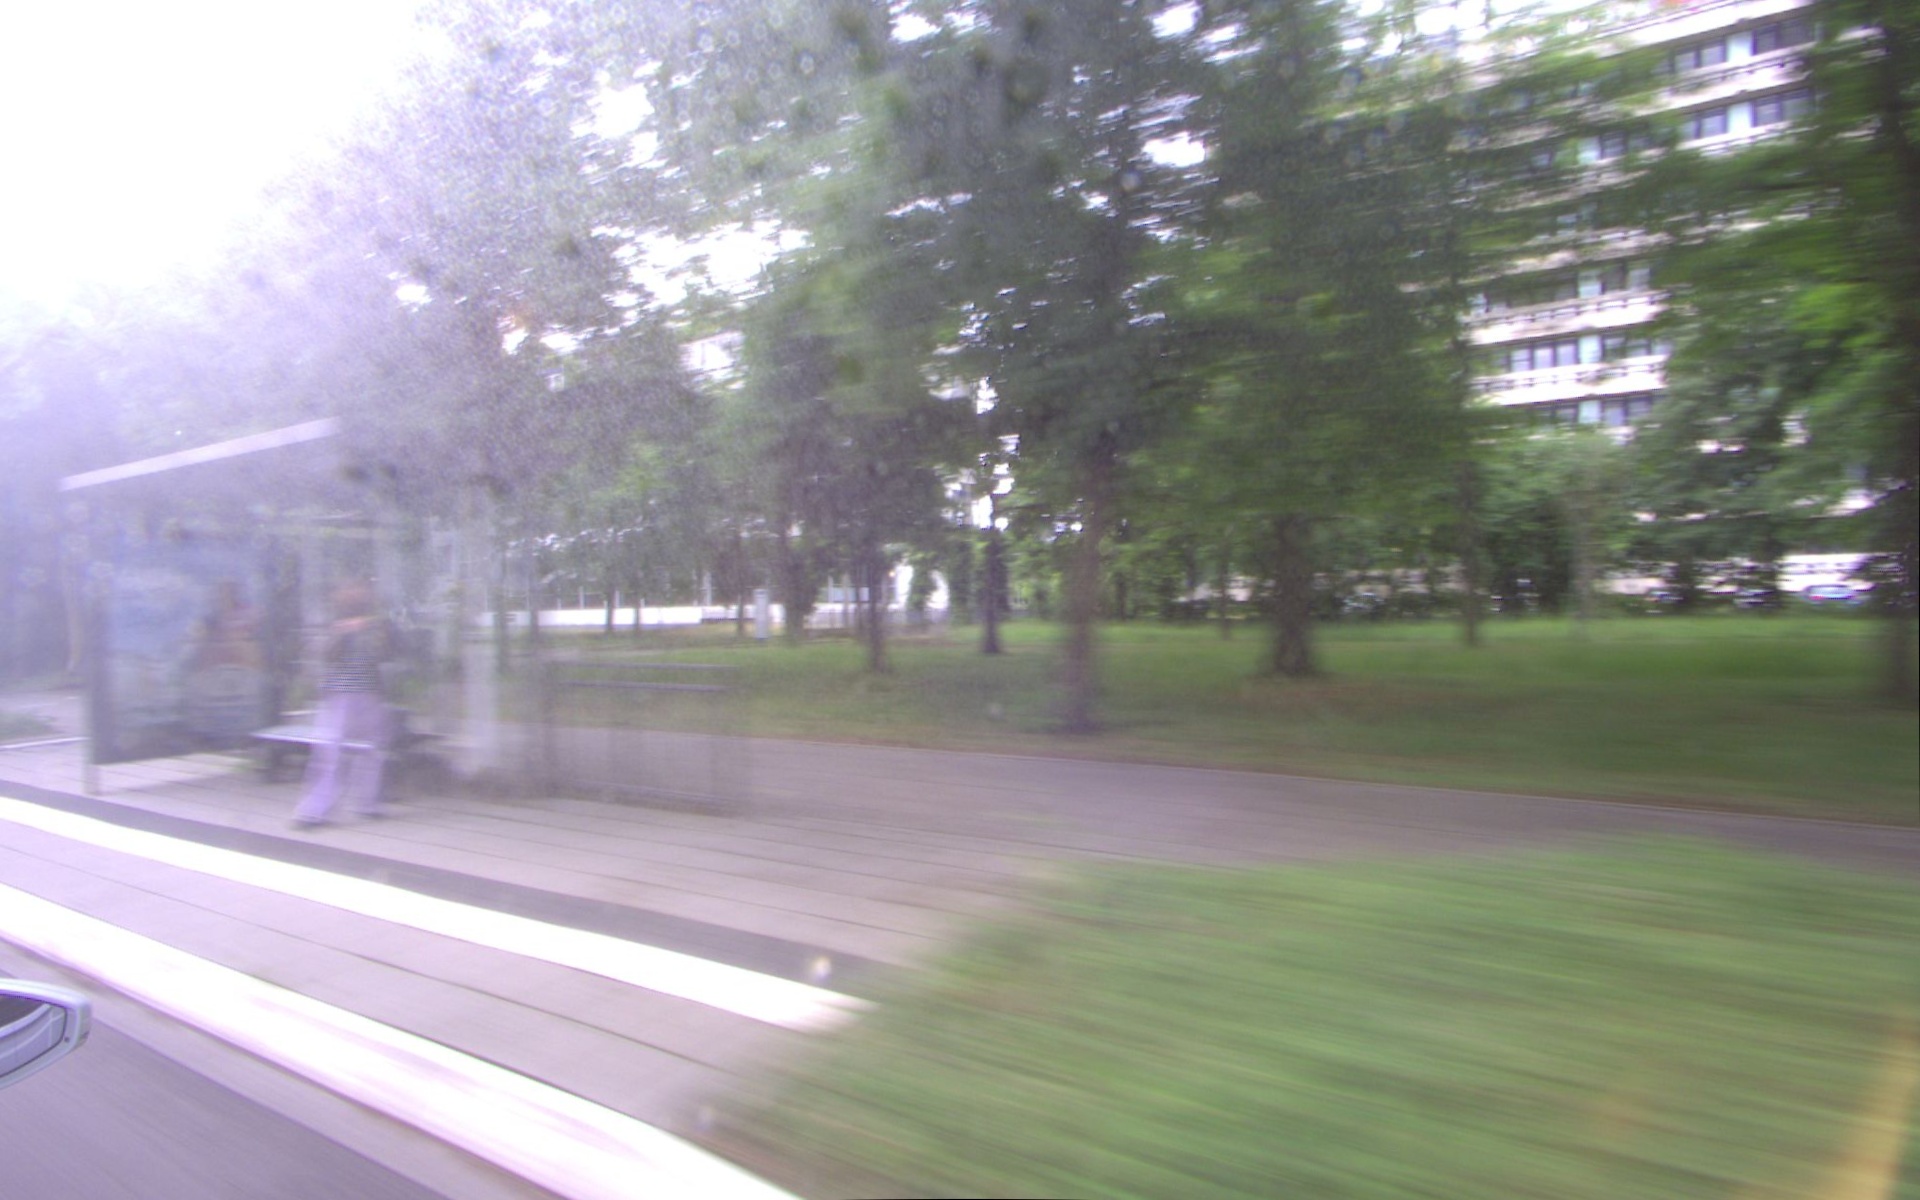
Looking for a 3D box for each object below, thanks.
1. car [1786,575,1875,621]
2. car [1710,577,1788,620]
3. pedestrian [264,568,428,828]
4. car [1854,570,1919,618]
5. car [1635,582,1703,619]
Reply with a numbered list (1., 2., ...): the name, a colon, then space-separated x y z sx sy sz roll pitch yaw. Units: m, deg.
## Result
1. car: 37.891 -0.032 43.682 1.968 1.816 3.987 -1 -2 27
2. car: 35.133 -0.013 44.702 1.968 1.750 3.987 -1 -2 27
3. pedestrian: -4.065 0.609 6.640 0.688 1.605 0.652 0 1 32
4. car: 39.977 -0.218 42.551 1.968 1.906 3.986 -1 -2 27
5. car: 32.857 0.031 46.486 1.968 1.639 3.985 -1 0 27
